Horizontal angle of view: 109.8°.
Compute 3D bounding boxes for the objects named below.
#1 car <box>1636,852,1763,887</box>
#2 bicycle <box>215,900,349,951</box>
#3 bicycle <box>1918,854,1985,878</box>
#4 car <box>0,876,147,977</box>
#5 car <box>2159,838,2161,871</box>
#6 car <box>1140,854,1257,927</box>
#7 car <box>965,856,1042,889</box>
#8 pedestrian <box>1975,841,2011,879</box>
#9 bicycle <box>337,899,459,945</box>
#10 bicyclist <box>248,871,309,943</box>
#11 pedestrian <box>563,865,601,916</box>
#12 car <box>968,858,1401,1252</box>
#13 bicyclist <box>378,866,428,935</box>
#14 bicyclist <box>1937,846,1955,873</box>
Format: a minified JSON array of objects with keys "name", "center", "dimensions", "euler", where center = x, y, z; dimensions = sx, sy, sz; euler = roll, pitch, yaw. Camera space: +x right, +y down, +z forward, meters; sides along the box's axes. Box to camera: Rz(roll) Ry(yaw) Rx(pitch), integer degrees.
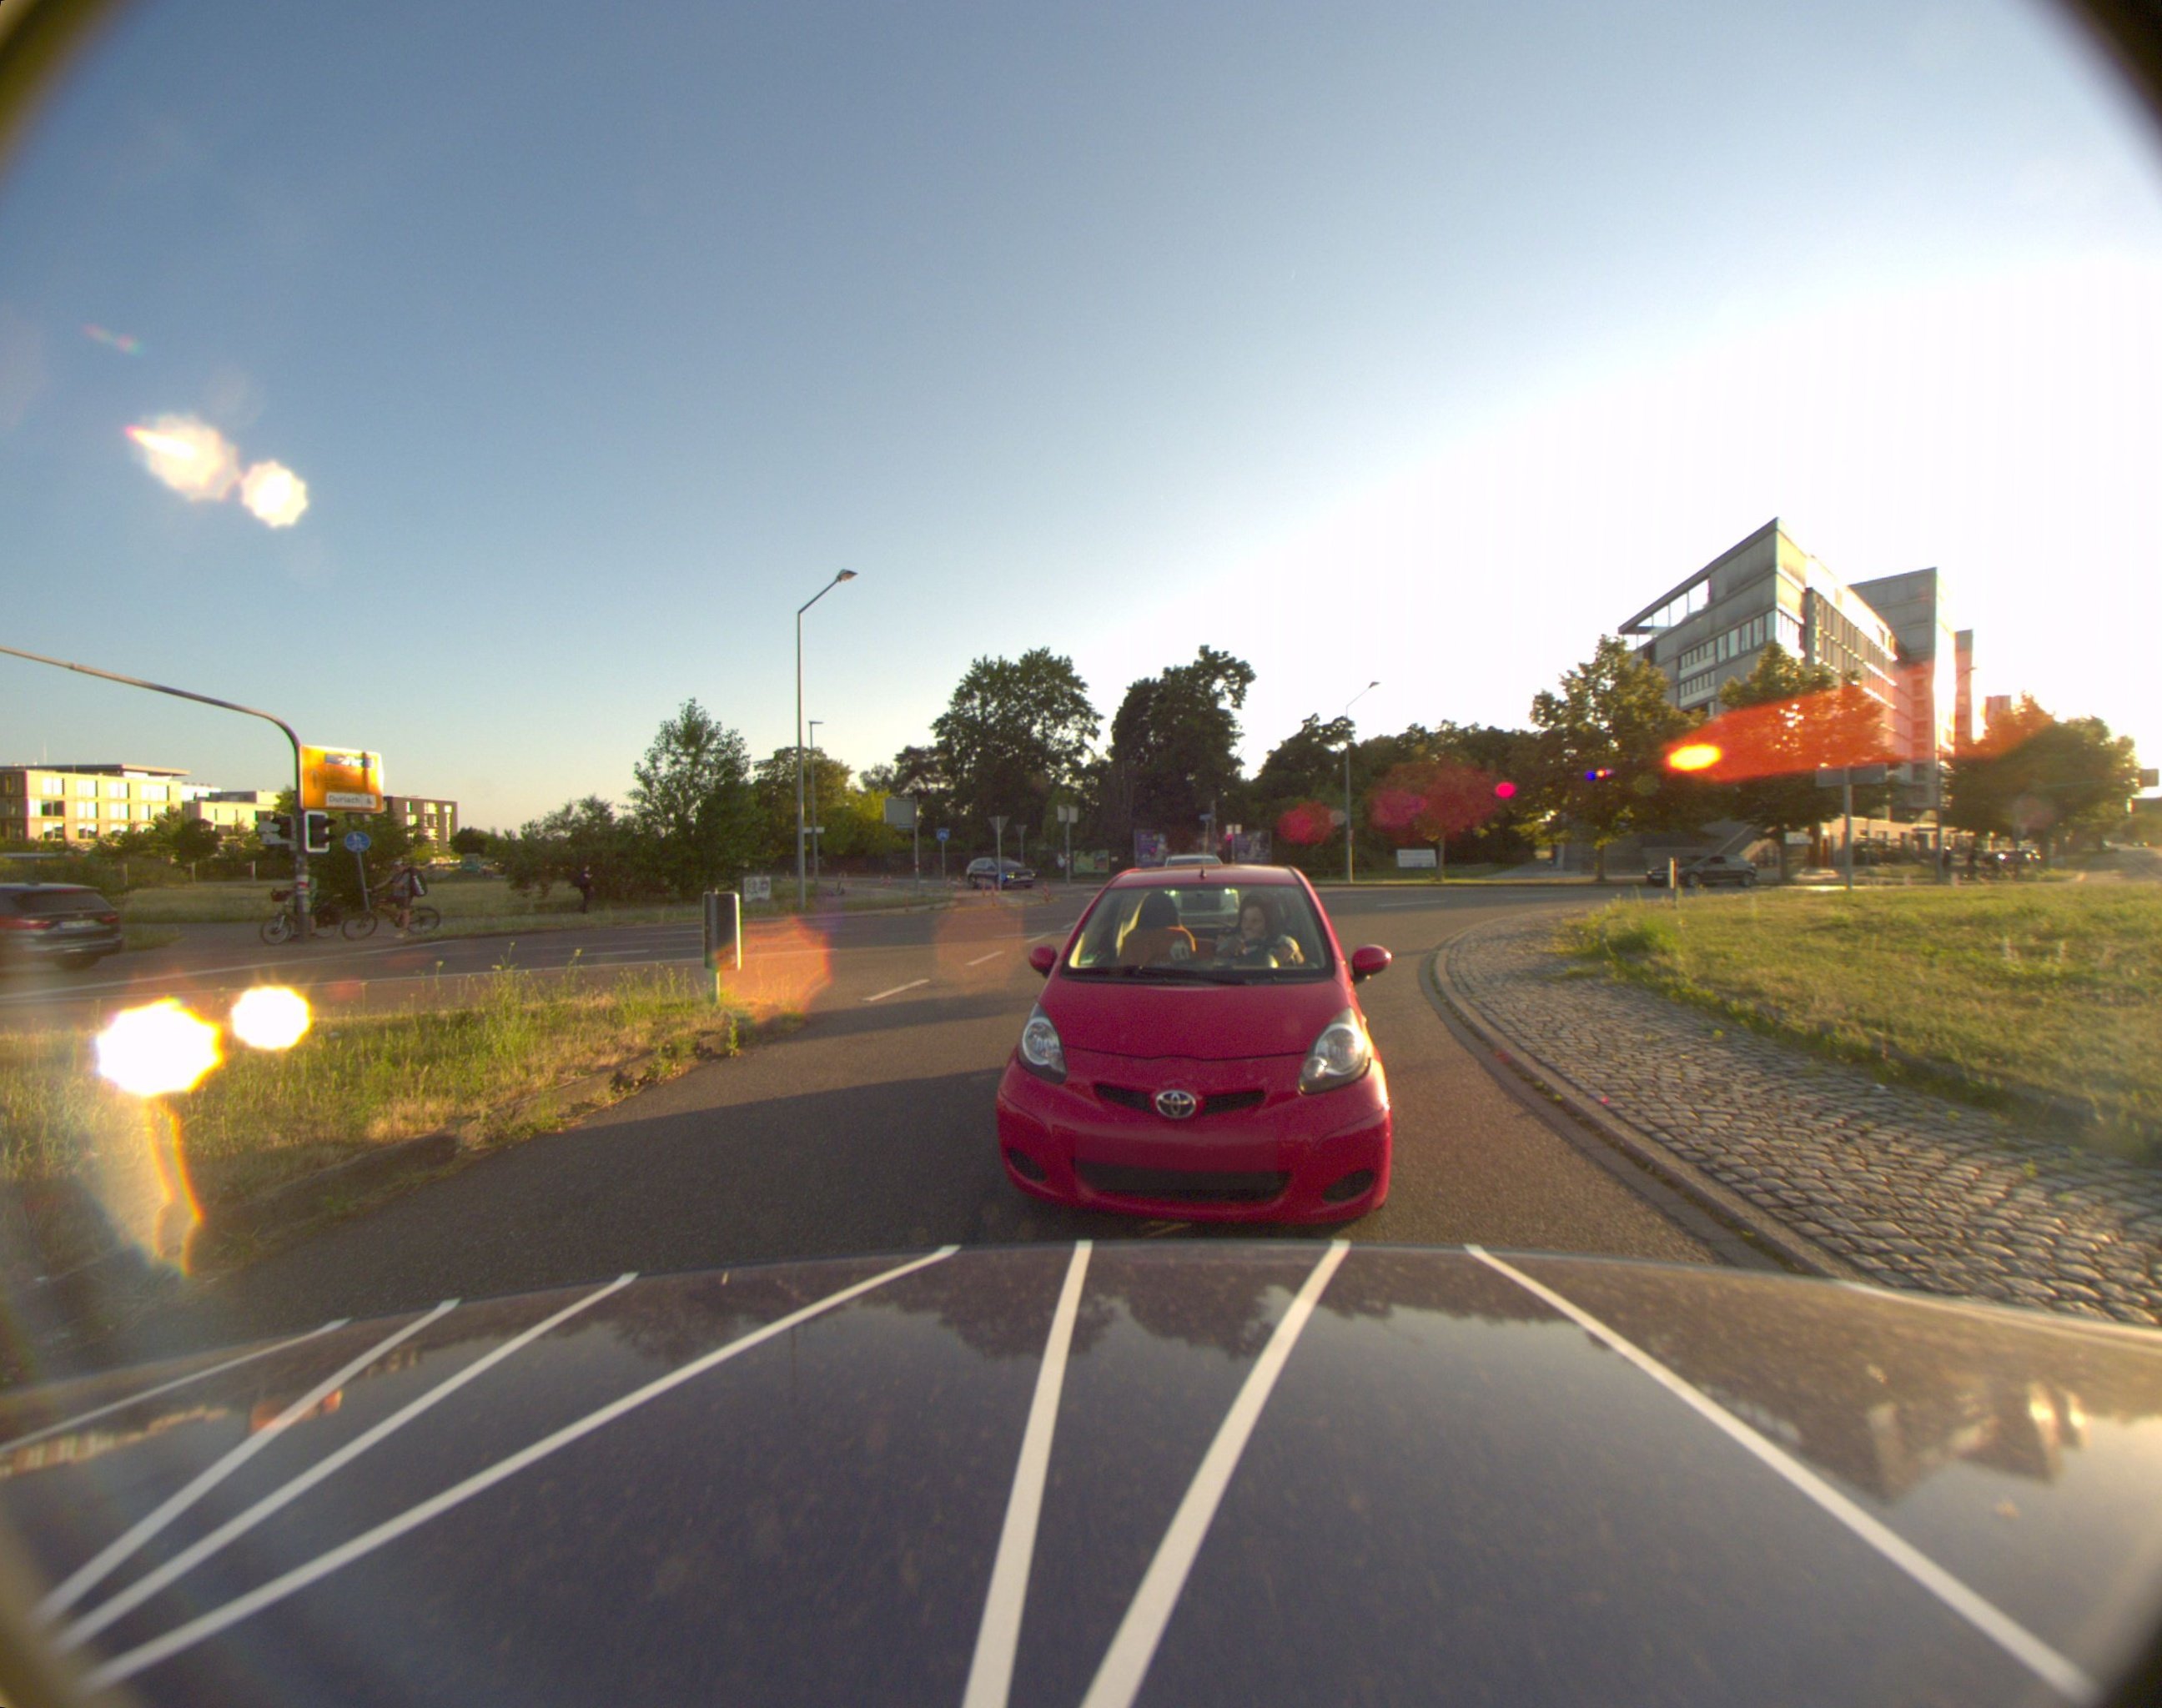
[{"name":"car","center":[26.004,0.632,32.009],"dimensions":[4.125,1.371,1.750],"euler":[-1,0,-7]},{"name":"bicycle","center":[-19.275,1.697,18.403],"dimensions":[0.708,0.958,2.109],"euler":[-1,2,14]},{"name":"bicycle","center":[47.085,0.623,41.125],"dimensions":[0.744,1.237,2.341],"euler":[-2,1,-41]},{"name":"car","center":[-19.371,1.237,12.900],"dimensions":[4.330,1.568,1.732],"euler":[-1,1,-10]},{"name":"car","center":[57.786,-0.002,39.252],"dimensions":[5.317,1.801,1.995],"euler":[0,-2,-39]},{"name":"car","center":[2.803,0.821,19.152],"dimensions":[1.999,1.597,4.196],"euler":[-1,0,-4]},{"name":"car","center":[-4.117,0.942,39.699],"dimensions":[2.004,1.588,4.302],"euler":[-1,1,-37]},{"name":"pedestrian","center":[49.306,0.324,41.098],"dimensions":[0.776,2.002,0.998],"euler":[-2,1,-11]},{"name":"bicycle","center":[-17.164,1.678,19.163],"dimensions":[0.708,0.957,2.149],"euler":[-1,0,26]},{"name":"bicyclist","center":[-19.333,1.256,18.316],"dimensions":[0.724,1.680,0.690],"euler":[-1,1,12]},{"name":"pedestrian","center":[-16.274,1.159,24.782],"dimensions":[0.993,1.581,0.924],"euler":[-1,1,-33]},{"name":"car","center":[0.811,0.772,4.959],"dimensions":[1.687,1.412,4.004],"euler":[-1,0,13]},{"name":"bicyclist","center":[-17.148,1.164,19.224],"dimensions":[0.723,1.680,0.690],"euler":[-1,1,28]},{"name":"bicyclist","center":[46.972,0.303,41.267],"dimensions":[0.693,1.432,0.610],"euler":[-2,1,-42]}]
